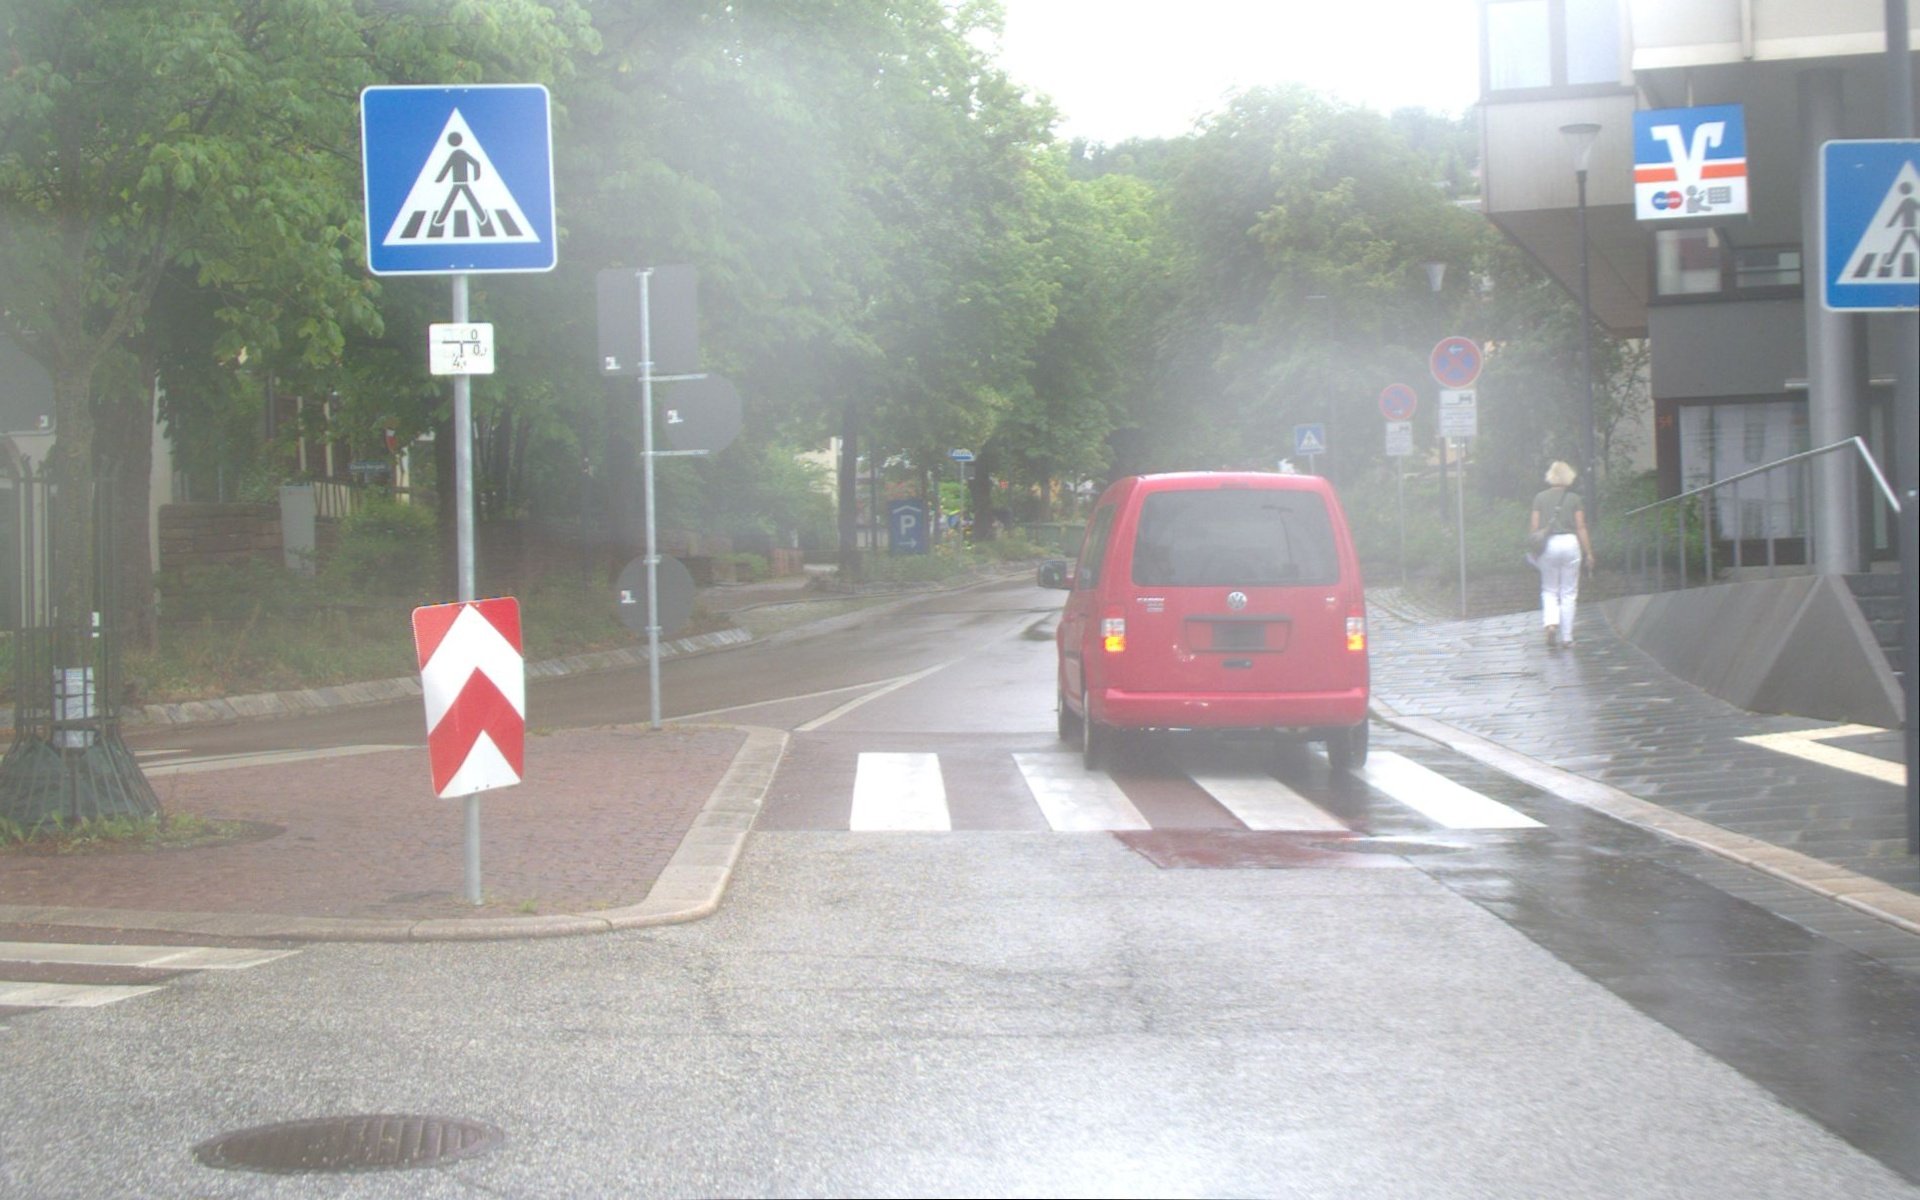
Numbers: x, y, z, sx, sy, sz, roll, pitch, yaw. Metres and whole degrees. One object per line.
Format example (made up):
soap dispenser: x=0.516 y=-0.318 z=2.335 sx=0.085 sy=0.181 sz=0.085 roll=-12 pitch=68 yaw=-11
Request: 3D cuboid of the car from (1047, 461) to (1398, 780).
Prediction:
car: x=1.592 y=0.105 z=22.272 sx=1.862 sy=1.824 sz=4.185 roll=-2 pitch=0 yaw=-1

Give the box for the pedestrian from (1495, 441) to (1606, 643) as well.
pedestrian: x=5.531 y=-0.527 z=32.170 sx=0.835 sy=1.824 sz=0.815 roll=-3 pitch=-2 yaw=17
